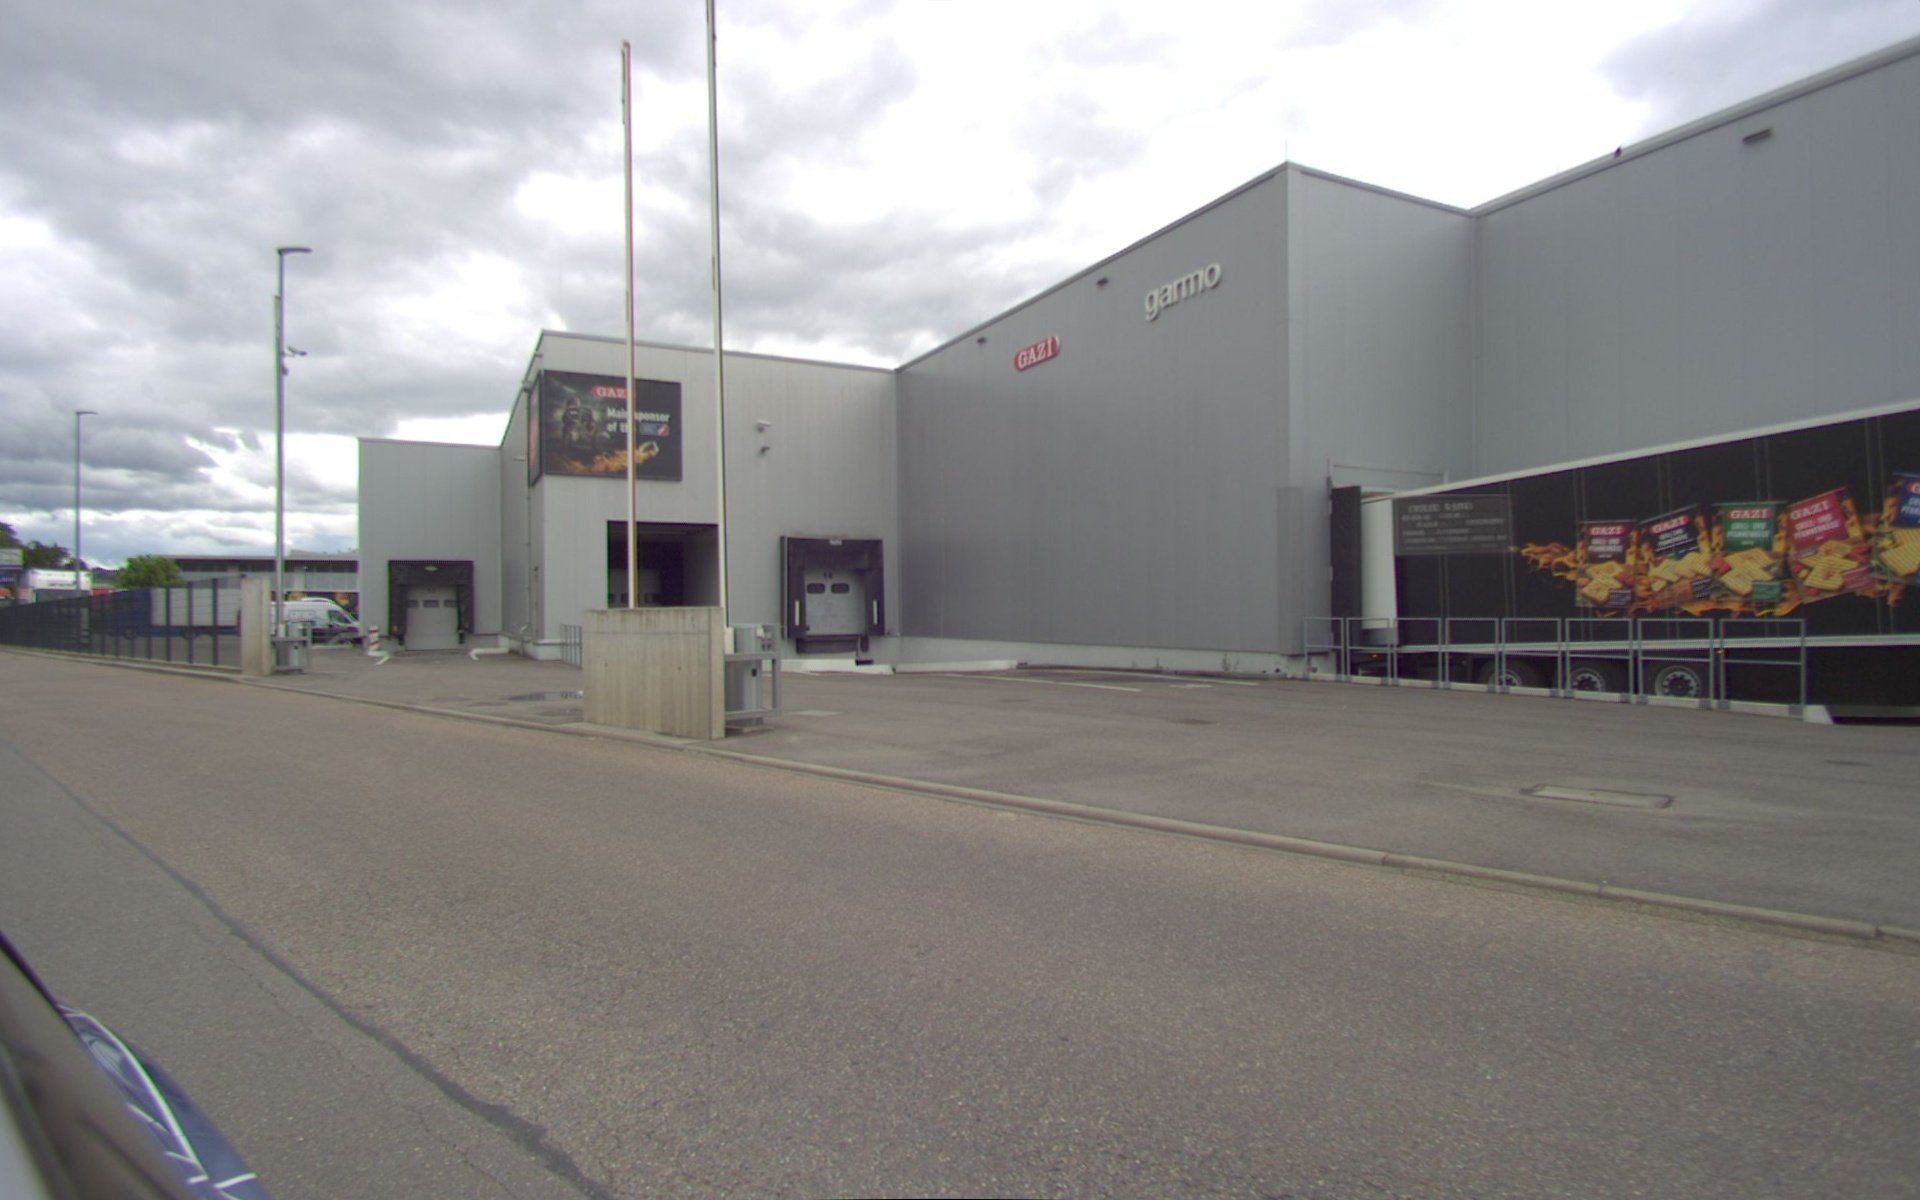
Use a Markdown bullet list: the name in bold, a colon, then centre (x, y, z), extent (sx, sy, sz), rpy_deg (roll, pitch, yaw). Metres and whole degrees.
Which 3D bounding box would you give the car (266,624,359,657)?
- **car**: centre (-34.982, 2.175, 54.784), extent (4.010, 1.589, 1.950), rpy_deg (-2, -1, -27)

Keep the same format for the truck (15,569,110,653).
- **truck**: centre (-47.558, 0.665, 53.588), extent (3.320, 4.192, 5.630), rpy_deg (3, -3, -45)

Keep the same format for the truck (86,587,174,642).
- **truck**: centre (-65.062, 1.211, 79.363), extent (3.048, 4.164, 4.813), rpy_deg (-2, -3, 42)

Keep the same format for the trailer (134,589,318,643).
- **trailer**: centre (-59.909, 1.426, 83.155), extent (11.841, 4.164, 3.057), rpy_deg (2, -3, -30)

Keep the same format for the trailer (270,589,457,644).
- **trailer**: centre (-48.641, 1.462, 83.229), extent (12.962, 4.245, 3.058), rpy_deg (2, -2, -26)

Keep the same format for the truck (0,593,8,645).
- **truck**: centre (-74.887, 1.414, 77.044), extent (5.669, 3.878, 2.981), rpy_deg (-1, -3, 42)

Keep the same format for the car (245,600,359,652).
- **car**: centre (-38.058, 1.500, 58.714), extent (5.341, 2.751, 2.248), rpy_deg (-2, -1, -29)

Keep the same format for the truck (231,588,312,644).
- **truck**: centre (-54.559, 1.304, 80.331), extent (4.797, 4.237, 3.058), rpy_deg (2, -2, -26)

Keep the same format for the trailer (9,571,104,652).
- **trailer**: centre (-52.460, 0.784, 58.588), extent (3.320, 4.192, 13.857), rpy_deg (3, -3, -44)

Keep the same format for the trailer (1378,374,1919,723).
- **trailer**: centre (11.827, -0.591, 13.478), extent (2.704, 4.061, 12.657), rpy_deg (-1, -1, -28)
